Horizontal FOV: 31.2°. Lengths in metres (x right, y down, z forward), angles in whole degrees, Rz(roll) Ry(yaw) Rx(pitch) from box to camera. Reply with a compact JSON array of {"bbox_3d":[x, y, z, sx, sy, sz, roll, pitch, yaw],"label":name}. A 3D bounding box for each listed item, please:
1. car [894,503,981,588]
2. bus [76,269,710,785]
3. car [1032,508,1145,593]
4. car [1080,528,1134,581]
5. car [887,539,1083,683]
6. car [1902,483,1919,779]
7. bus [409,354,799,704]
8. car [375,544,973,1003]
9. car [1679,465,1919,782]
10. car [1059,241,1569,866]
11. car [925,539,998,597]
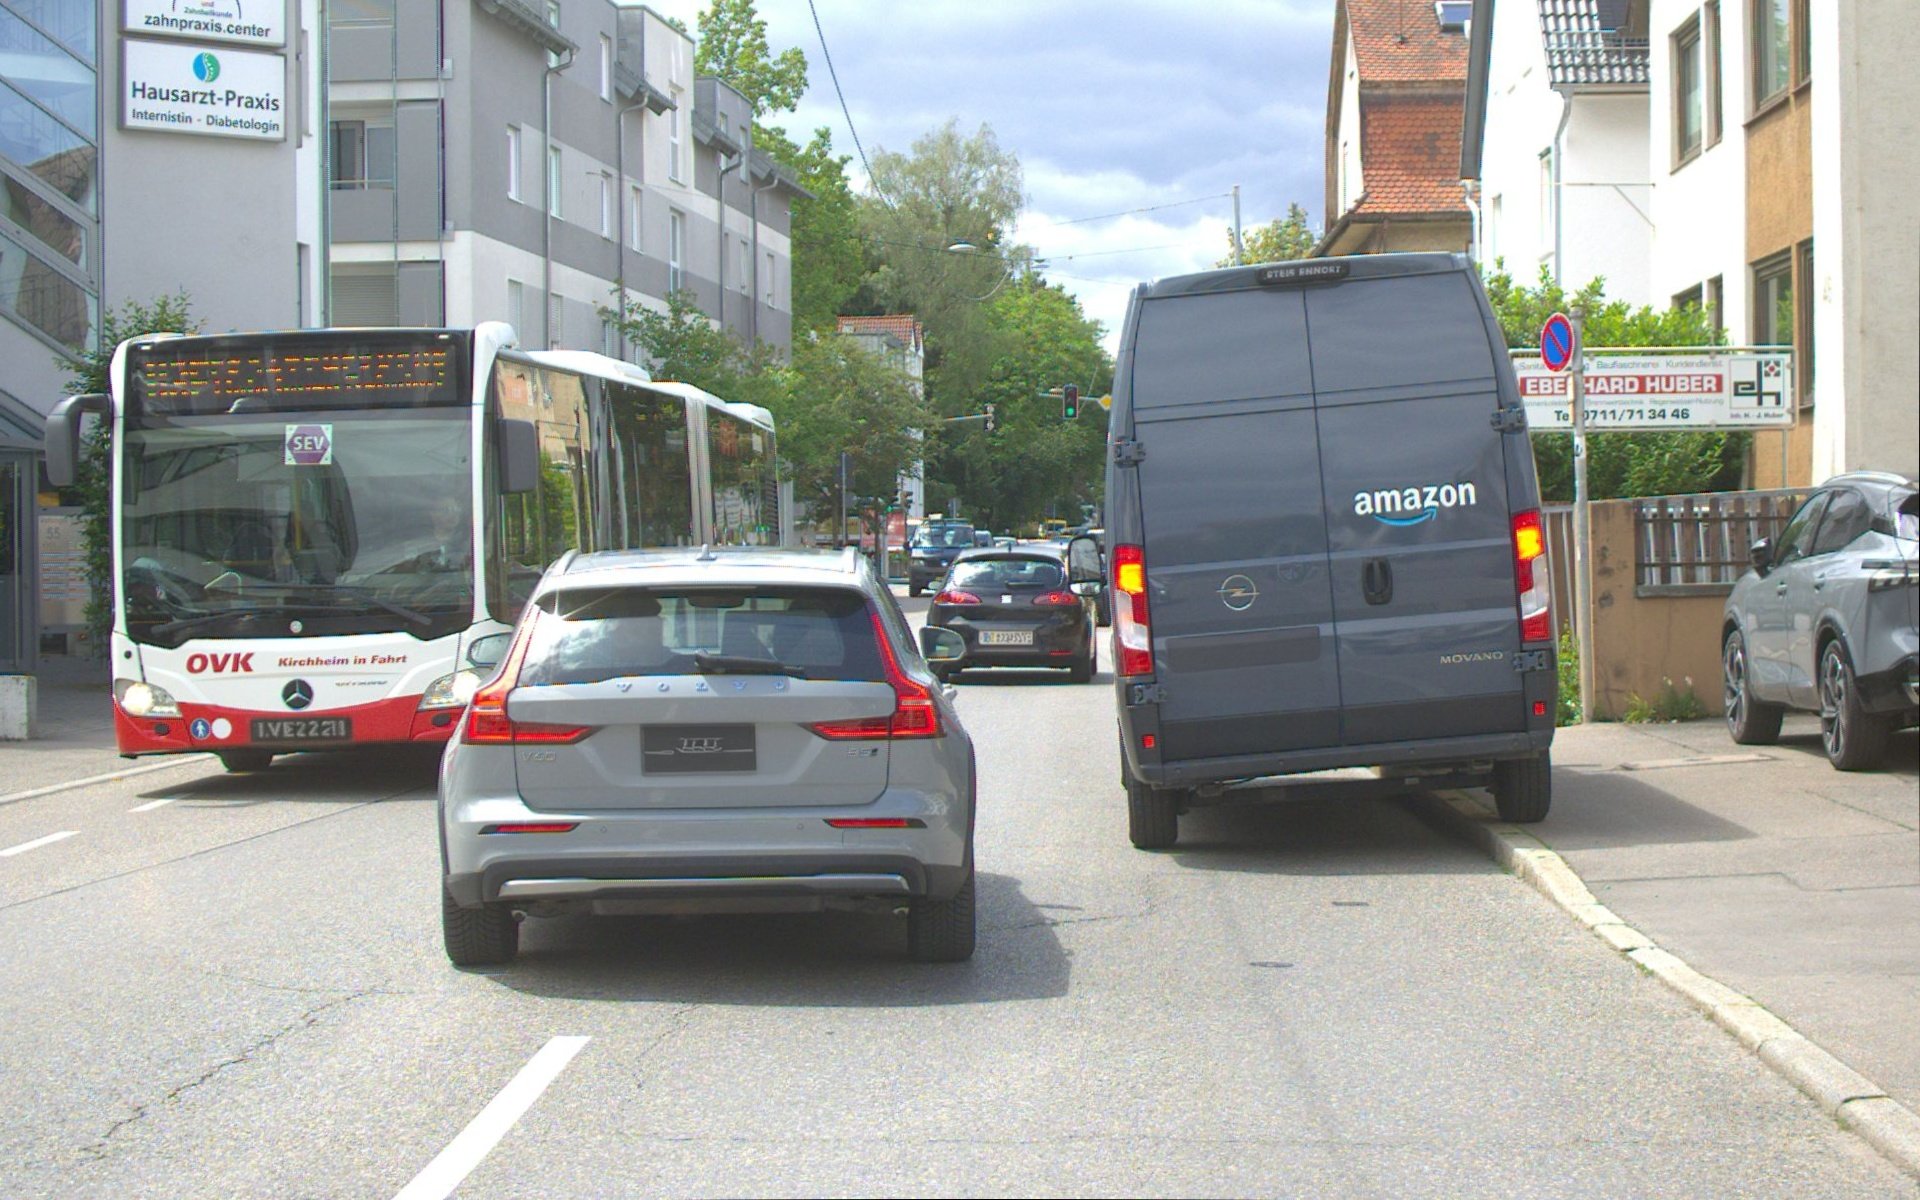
[{"bbox_3d":[-0.578,-1.461,92.035,2.105,2.114,4.765,-3,1,1],"label":"car"},{"bbox_3d":[-3.890,-0.539,26.393,2.682,3.153,10.184,-1,1,3],"label":"bus"},{"bbox_3d":[2.310,-0.895,60.893,1.896,1.441,3.968,0,1,3],"label":"car"},{"bbox_3d":[5.718,-1.778,133.236,1.994,2.007,4.000,0,1,3],"label":"car"},{"bbox_3d":[0.328,0.073,37.014,1.896,1.441,3.968,0,1,3],"label":"car"},{"bbox_3d":[5.646,0.246,14.976,1.877,1.442,4.308,-1,3,0],"label":"car"},{"bbox_3d":[-3.448,-0.721,35.458,2.716,3.153,8.068,-1,1,3],"label":"bus"},{"bbox_3d":[-0.918,0.528,13.068,1.896,1.448,3.969,0,1,1],"label":"car"},{"bbox_3d":[5.530,0.042,19.768,1.860,1.606,4.586,-2,1,1],"label":"car"},{"bbox_3d":[1.786,-0.254,18.246,2.253,2.786,5.568,-1,1,4],"label":"car"},{"bbox_3d":[0.075,-0.992,104.233,2.105,1.704,4.765,-1,1,1],"label":"car"}]
